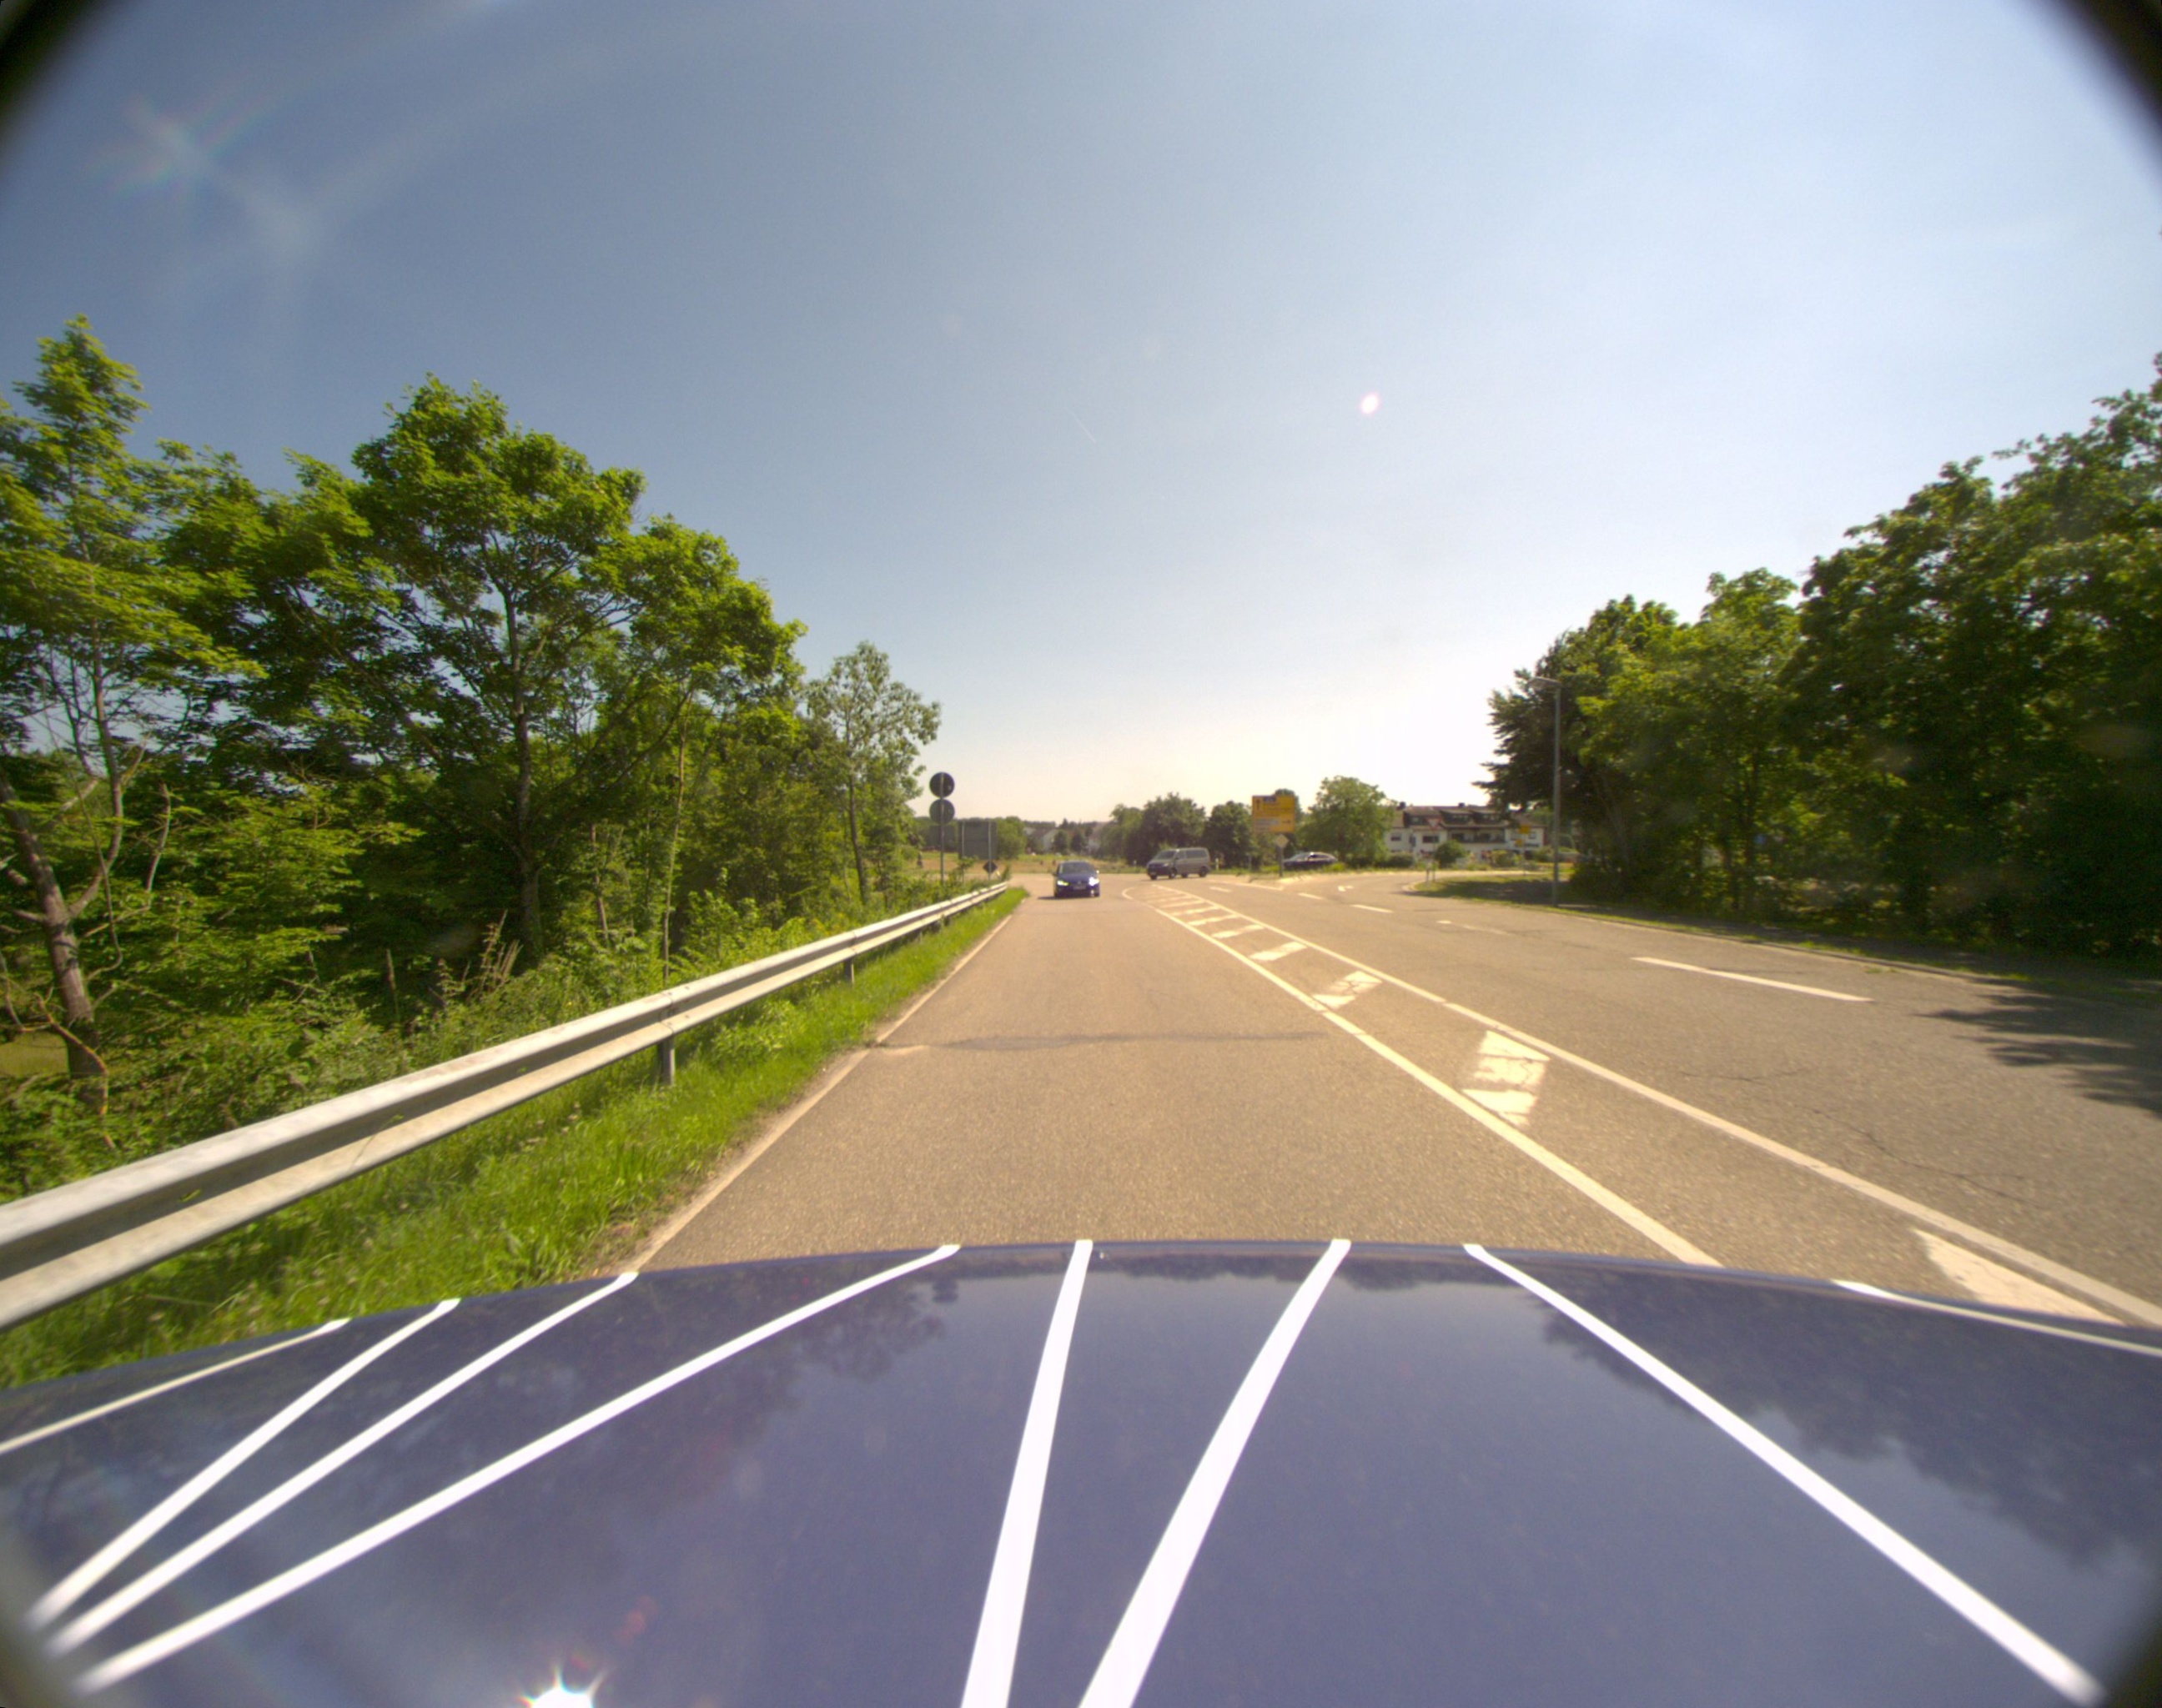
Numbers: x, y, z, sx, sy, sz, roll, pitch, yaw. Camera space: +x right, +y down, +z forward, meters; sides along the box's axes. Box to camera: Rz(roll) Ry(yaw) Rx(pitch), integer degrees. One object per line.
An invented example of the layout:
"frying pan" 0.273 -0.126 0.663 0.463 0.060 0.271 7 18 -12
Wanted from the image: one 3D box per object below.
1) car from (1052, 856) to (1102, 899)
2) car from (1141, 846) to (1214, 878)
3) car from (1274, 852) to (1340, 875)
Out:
"car" -0.222 0.951 32.531 1.829 1.592 4.194 -4 1 -3
"car" 6.455 0.498 50.492 4.775 2.001 1.995 -1 -1 -39
"car" 16.454 0.687 55.414 4.380 1.636 1.746 -1 0 -19
